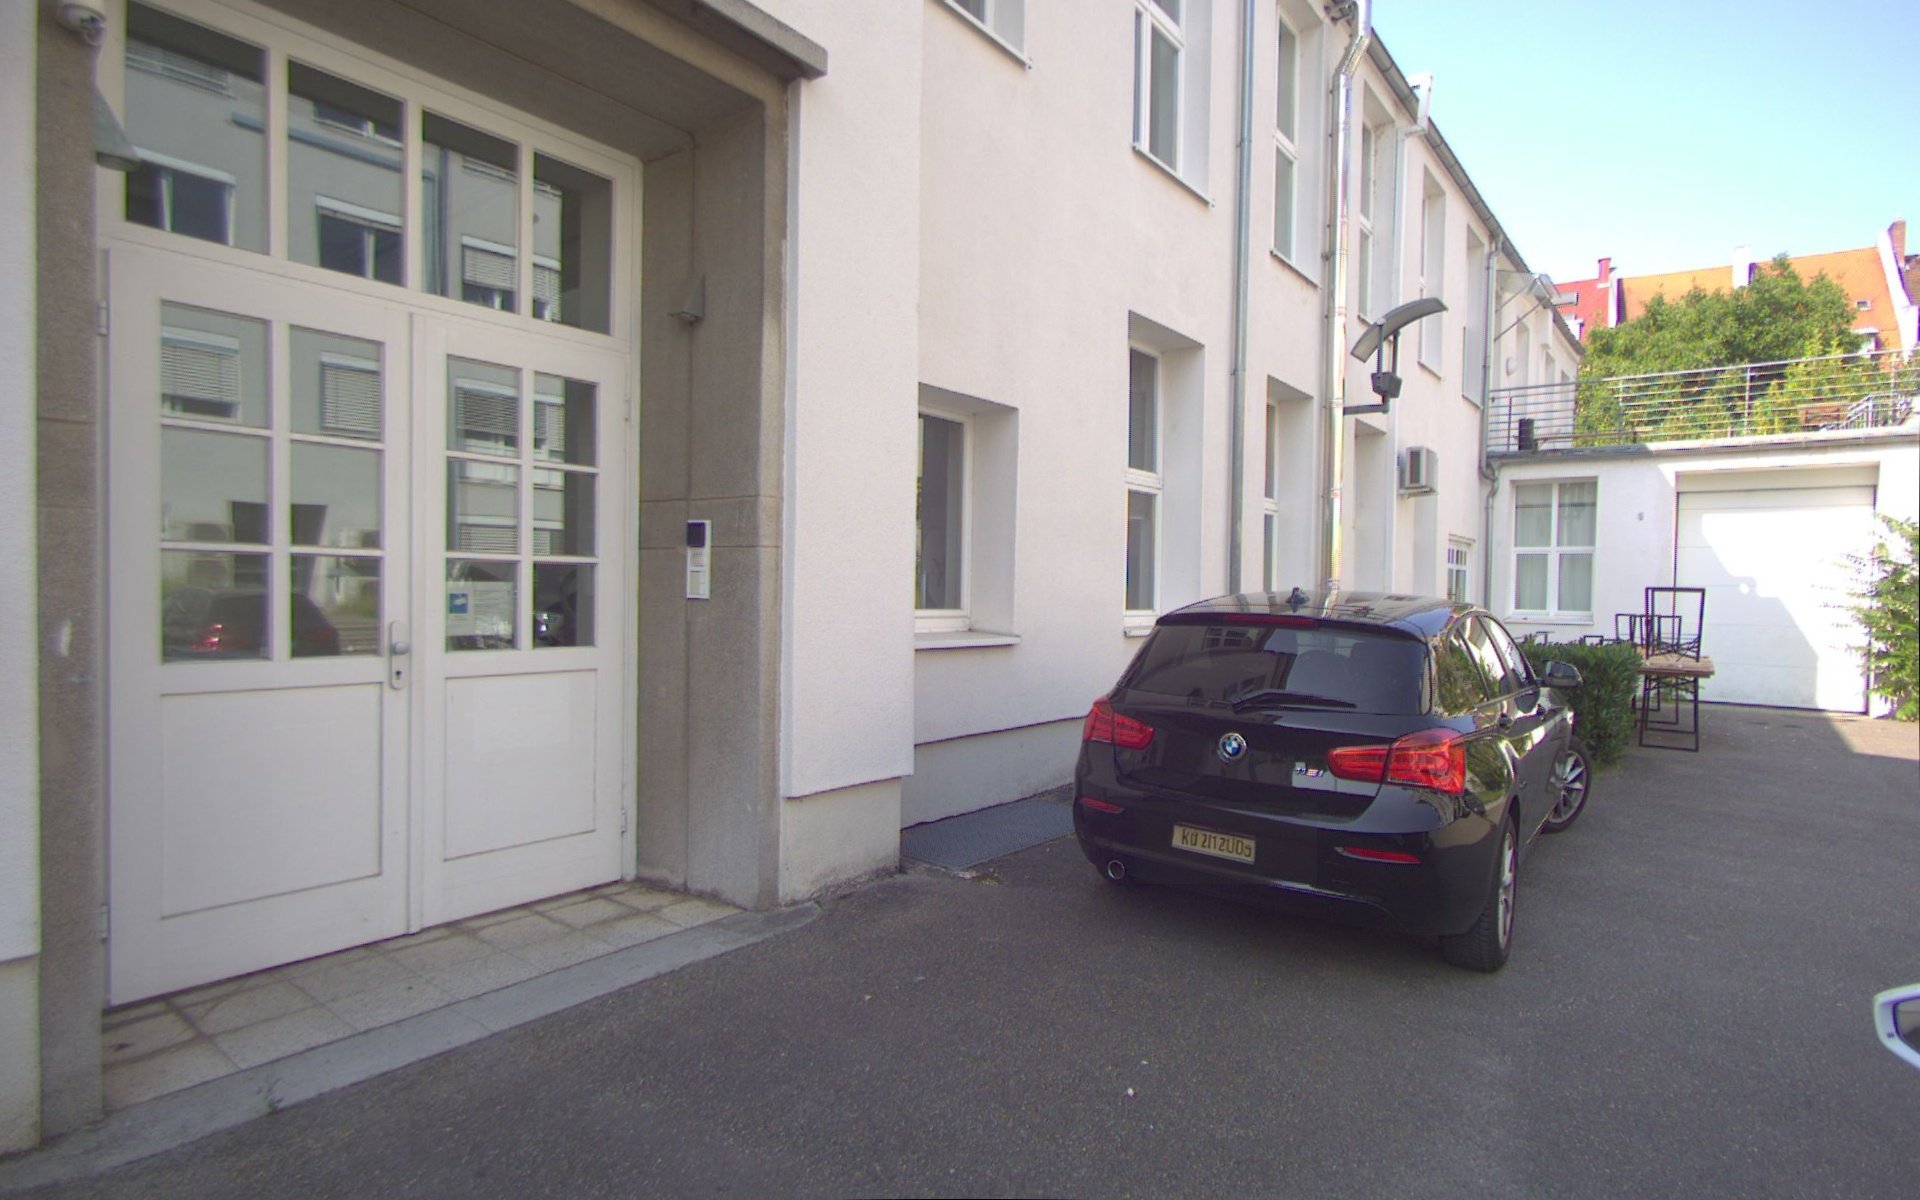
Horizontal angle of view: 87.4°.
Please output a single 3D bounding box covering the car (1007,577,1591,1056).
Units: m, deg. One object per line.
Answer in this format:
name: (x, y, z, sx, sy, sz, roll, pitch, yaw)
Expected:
car: (2.116, 0.654, 5.291, 1.769, 1.448, 4.122, 2, 1, 35)
